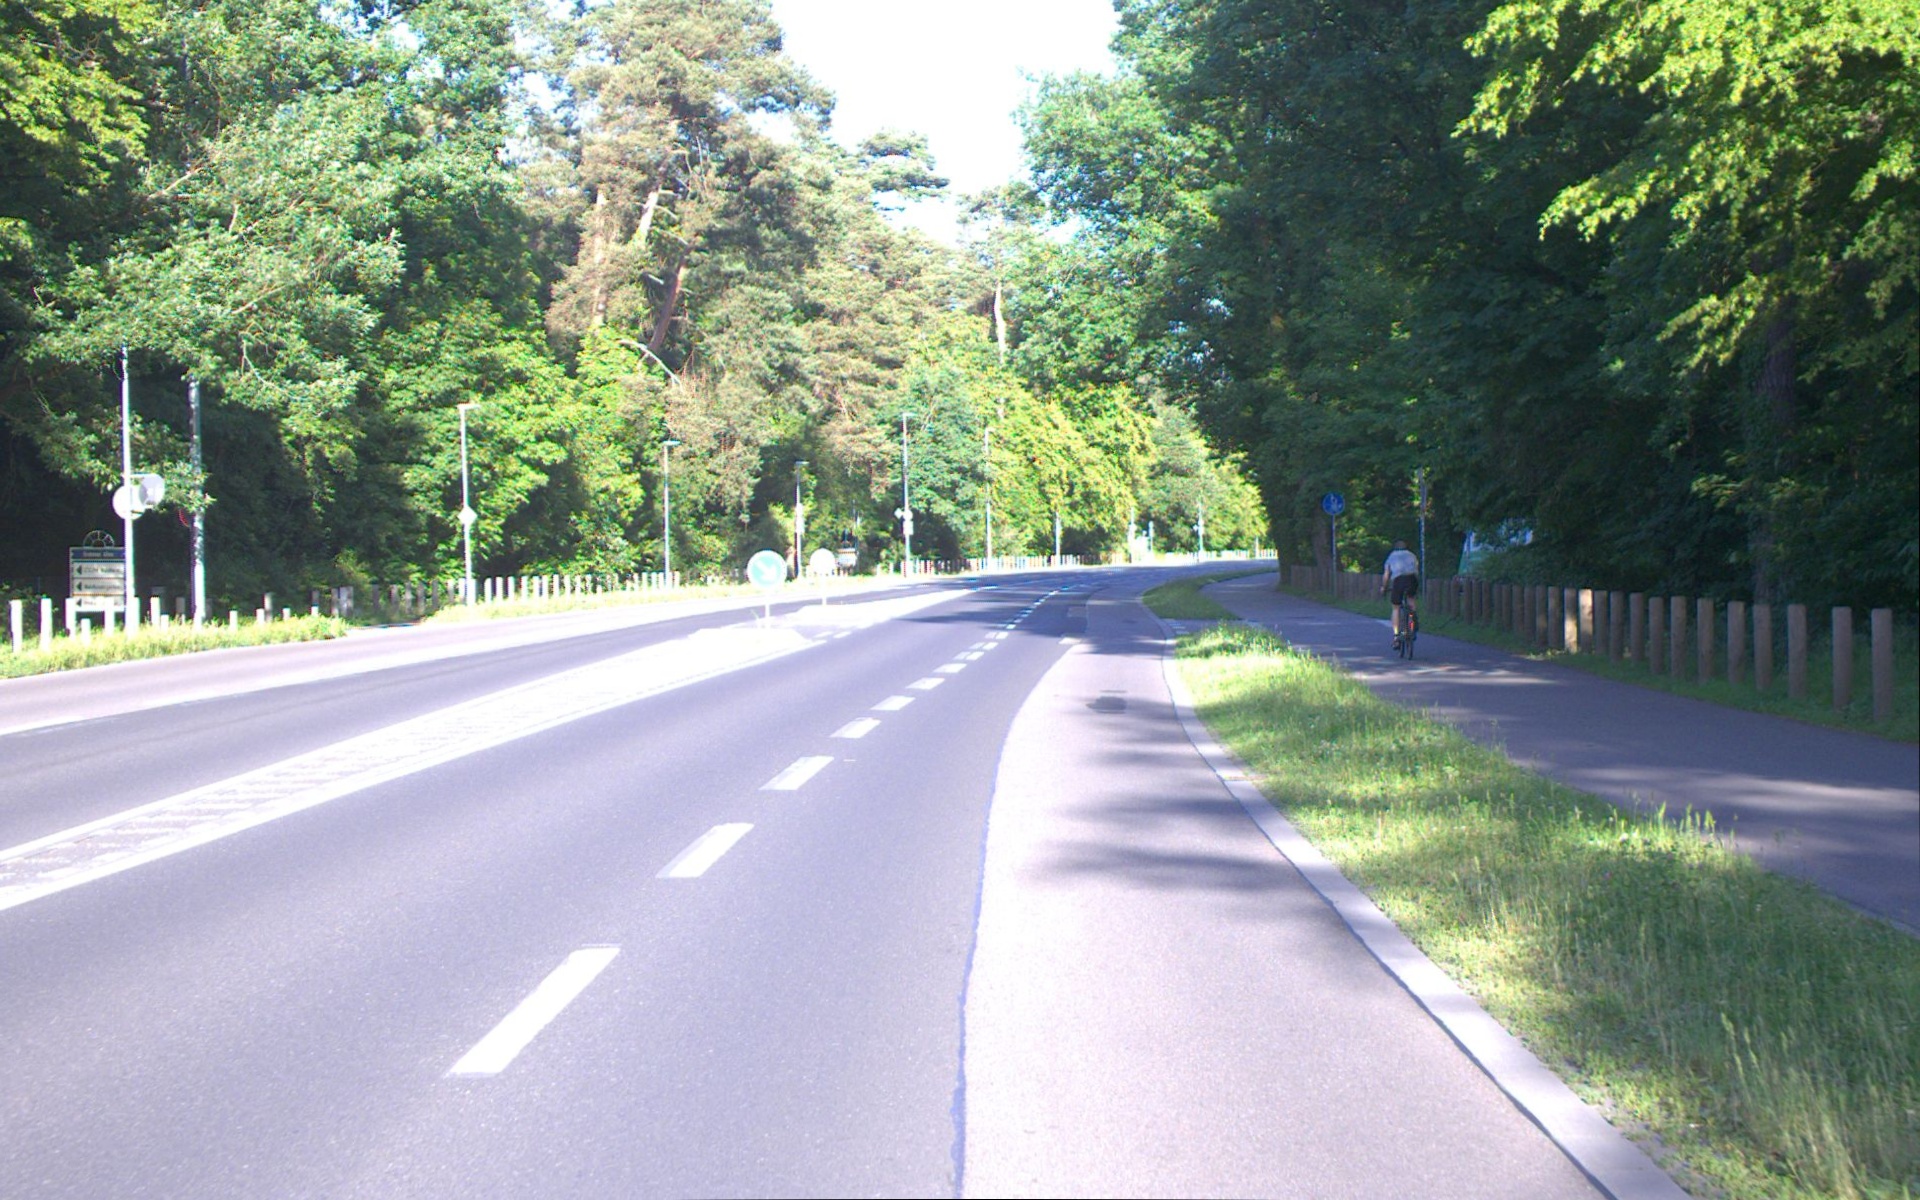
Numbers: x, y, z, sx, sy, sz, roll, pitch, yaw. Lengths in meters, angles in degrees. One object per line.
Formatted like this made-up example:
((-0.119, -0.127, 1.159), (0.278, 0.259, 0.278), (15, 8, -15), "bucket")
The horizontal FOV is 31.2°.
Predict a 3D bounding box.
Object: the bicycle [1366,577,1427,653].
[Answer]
((6.174, 0.203, 48.697), (0.712, 1.052, 2.053), (0, 0, 3), "bicycle")

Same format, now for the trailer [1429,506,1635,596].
((13.051, -1.112, 78.548), (4.224, 2.015, 1.995), (0, 1, 44), "trailer")

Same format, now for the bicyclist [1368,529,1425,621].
((6.176, -0.351, 48.663), (0.712, 1.284, 1.104), (0, 0, 3), "bicyclist")
